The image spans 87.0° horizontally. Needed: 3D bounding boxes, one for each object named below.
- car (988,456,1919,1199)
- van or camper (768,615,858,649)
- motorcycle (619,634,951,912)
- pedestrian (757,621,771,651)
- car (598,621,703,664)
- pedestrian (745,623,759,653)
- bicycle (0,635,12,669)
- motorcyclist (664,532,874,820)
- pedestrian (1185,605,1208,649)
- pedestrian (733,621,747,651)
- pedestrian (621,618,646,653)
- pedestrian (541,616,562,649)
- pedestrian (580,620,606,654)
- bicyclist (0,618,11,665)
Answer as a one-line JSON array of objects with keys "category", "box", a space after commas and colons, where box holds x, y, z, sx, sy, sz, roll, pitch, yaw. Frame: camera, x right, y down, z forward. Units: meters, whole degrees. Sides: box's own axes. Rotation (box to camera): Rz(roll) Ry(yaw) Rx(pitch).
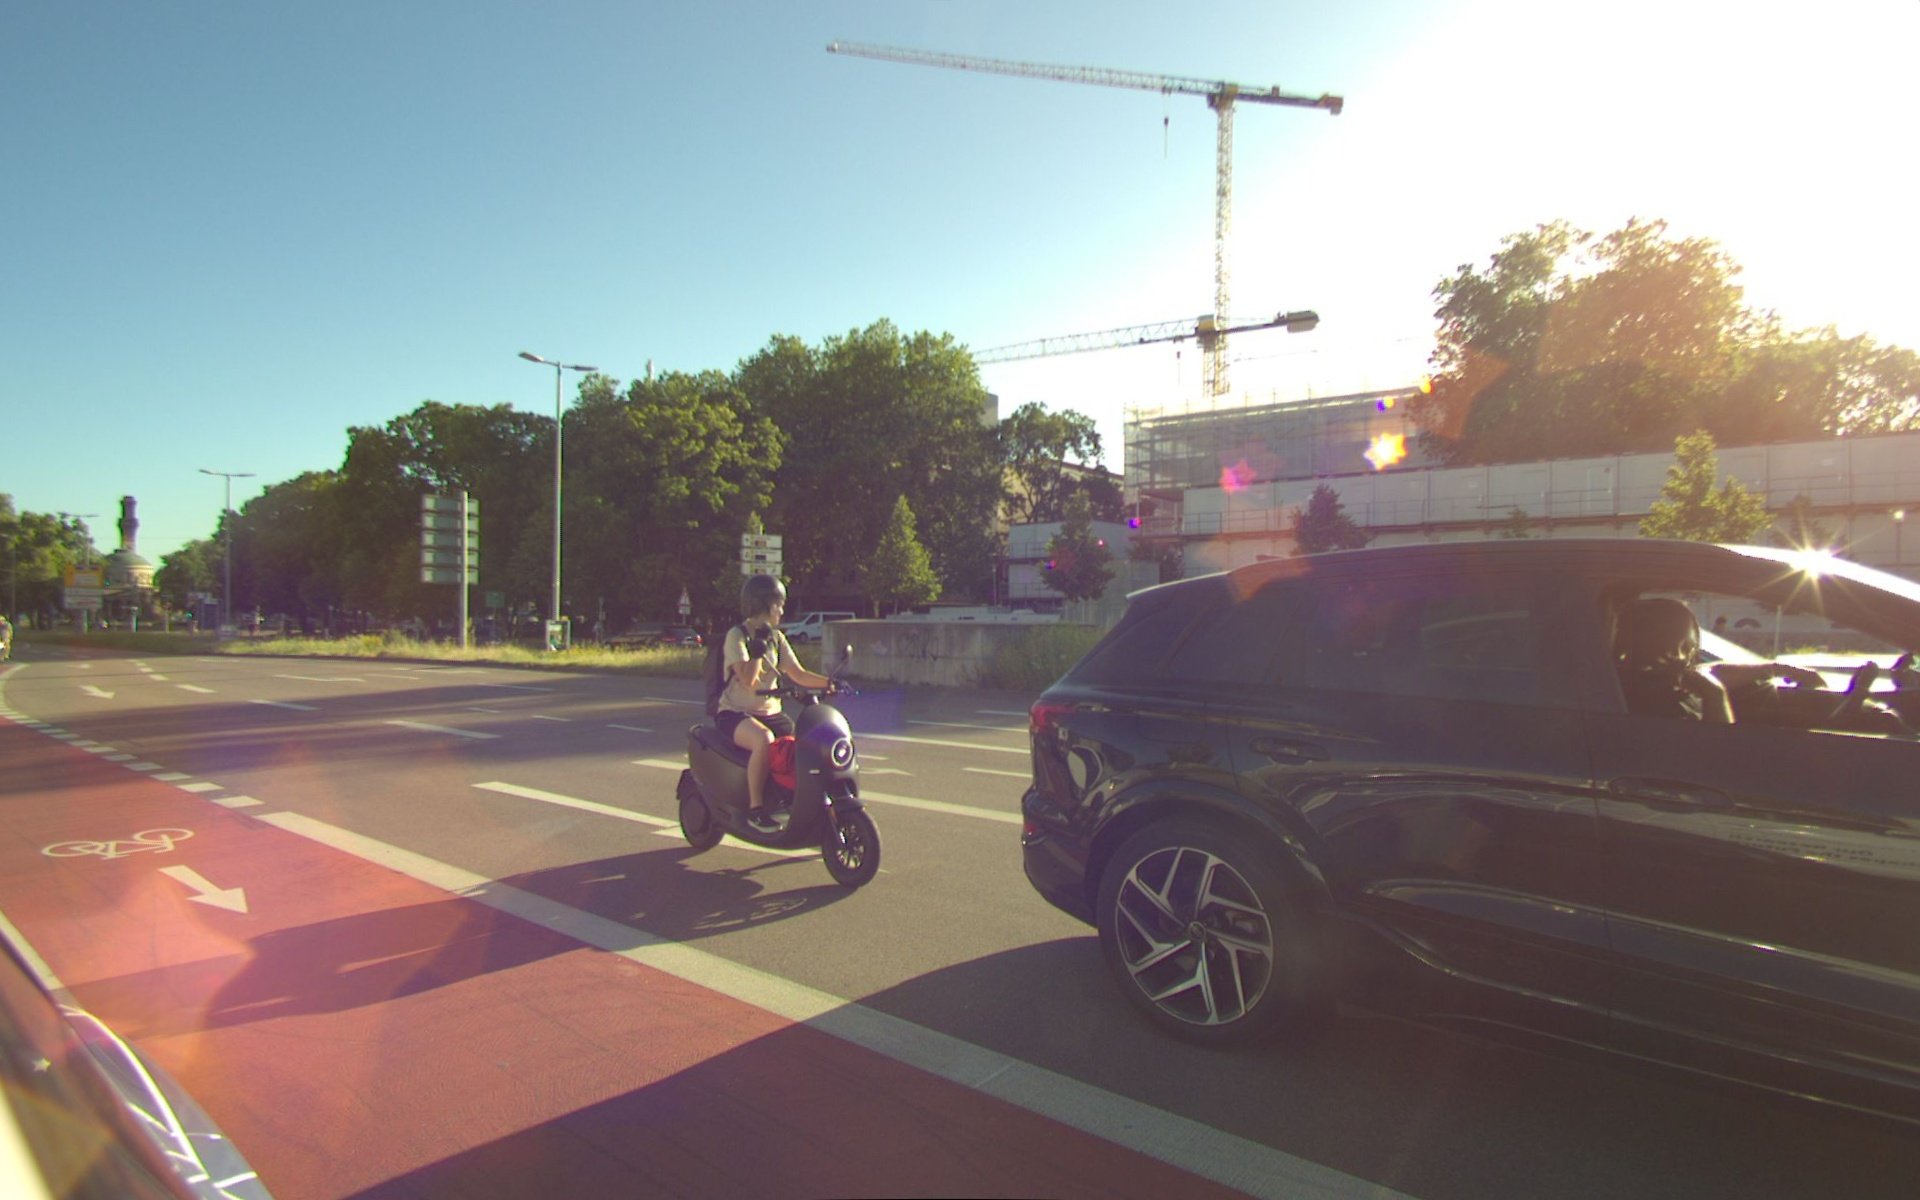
[{"category": "car", "box": [2.577, 0.550, 3.170, 4.661, 1.720, 2.143, -1, -1, 40]}, {"category": "van or camper", "box": [-8.959, 1.933, 61.896, 1.951, 1.960, 5.425, -2, -2, 44]}, {"category": "motorcycle", "box": [-1.040, 0.844, 5.723, 1.943, 1.290, 0.817, -1, -2, 41]}, {"category": "pedestrian", "box": [-10.137, 1.845, 52.270, 0.494, 1.522, 0.492, -1, -2, 41]}, {"category": "car", "box": [-11.284, 1.507, 36.783, 3.979, 1.492, 1.857, -1, -2, 41]}, {"category": "pedestrian", "box": [-10.599, 1.952, 51.547, 0.494, 1.522, 0.492, -1, -2, 41]}, {"category": "bicycle", "box": [-34.887, 1.867, 36.623, 1.505, 1.201, 0.680, -1, -2, 41]}, {"category": "motorcyclist", "box": [-1.089, 0.403, 5.793, 0.877, 1.475, 0.813, -1, -2, 41]}, {"category": "pedestrian", "box": [8.700, 0.986, 37.216, 0.597, 1.614, 0.580, -1, 0, 38]}, {"category": "pedestrian", "box": [-11.046, 1.803, 50.863, 0.494, 1.522, 0.492, -1, -2, 41]}, {"category": "pedestrian", "box": [-18.889, 2.043, 58.567, 0.815, 1.978, 1.111, -1, 0, 41]}, {"category": "pedestrian", "box": [-25.717, 2.043, 63.710, 0.948, 2.029, 0.836, -1, 0, 15]}, {"category": "pedestrian", "box": [-21.941, 2.198, 60.505, 1.054, 1.978, 0.942, -1, 0, 26]}, {"category": "bicyclist", "box": [-34.932, 1.495, 36.670, 0.877, 1.671, 0.666, -1, -2, 41]}]
